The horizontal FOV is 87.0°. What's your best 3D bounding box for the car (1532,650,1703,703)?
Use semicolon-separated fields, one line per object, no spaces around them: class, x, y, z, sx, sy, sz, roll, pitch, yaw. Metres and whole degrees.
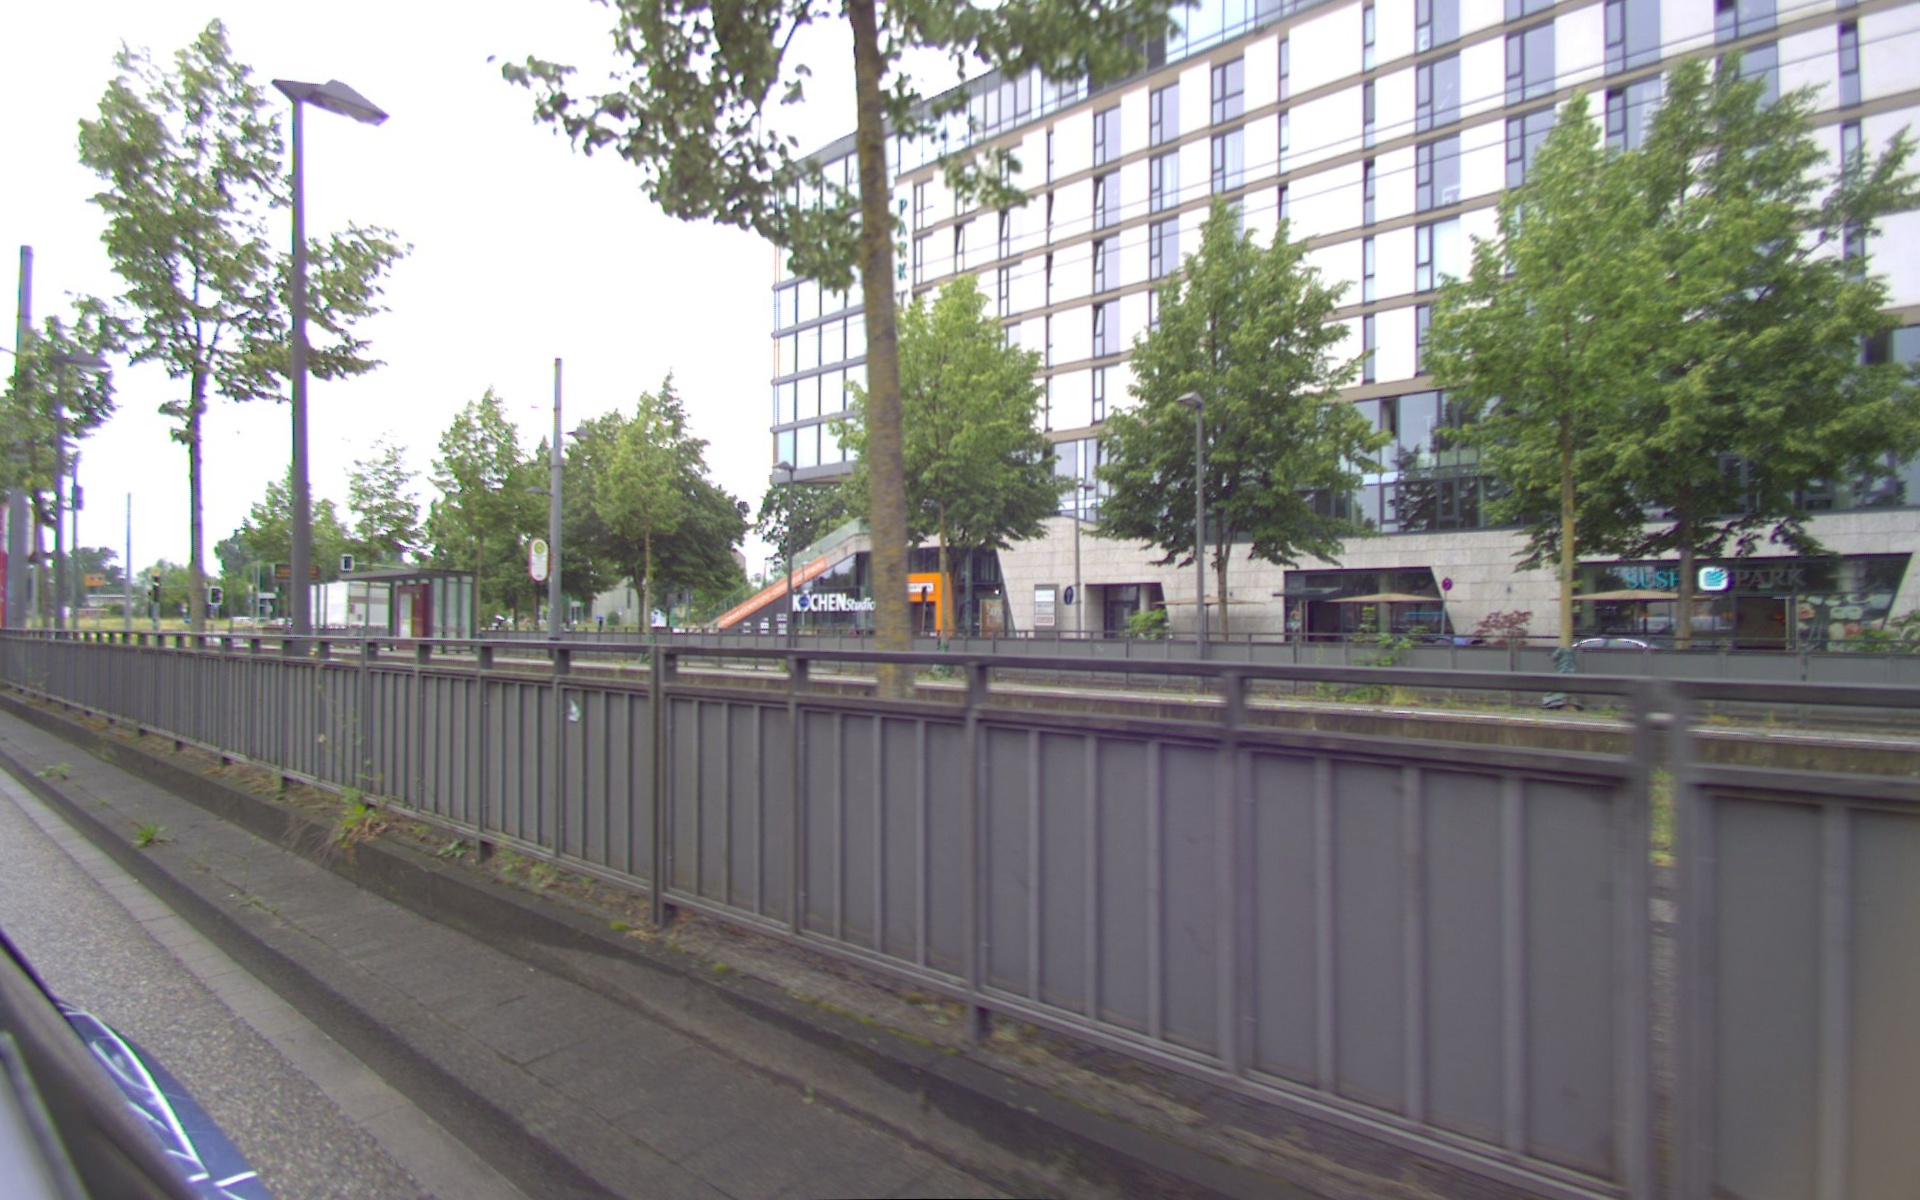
car;18.914;2.152;29.174;3.860;1.298;1.972;-1;-2;43

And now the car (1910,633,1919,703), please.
car;20.024;1.270;18.325;4.070;1.298;1.972;-1;-2;43

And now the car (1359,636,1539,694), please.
car;12.662;1.629;26.320;3.858;1.298;1.973;0;-1;41
